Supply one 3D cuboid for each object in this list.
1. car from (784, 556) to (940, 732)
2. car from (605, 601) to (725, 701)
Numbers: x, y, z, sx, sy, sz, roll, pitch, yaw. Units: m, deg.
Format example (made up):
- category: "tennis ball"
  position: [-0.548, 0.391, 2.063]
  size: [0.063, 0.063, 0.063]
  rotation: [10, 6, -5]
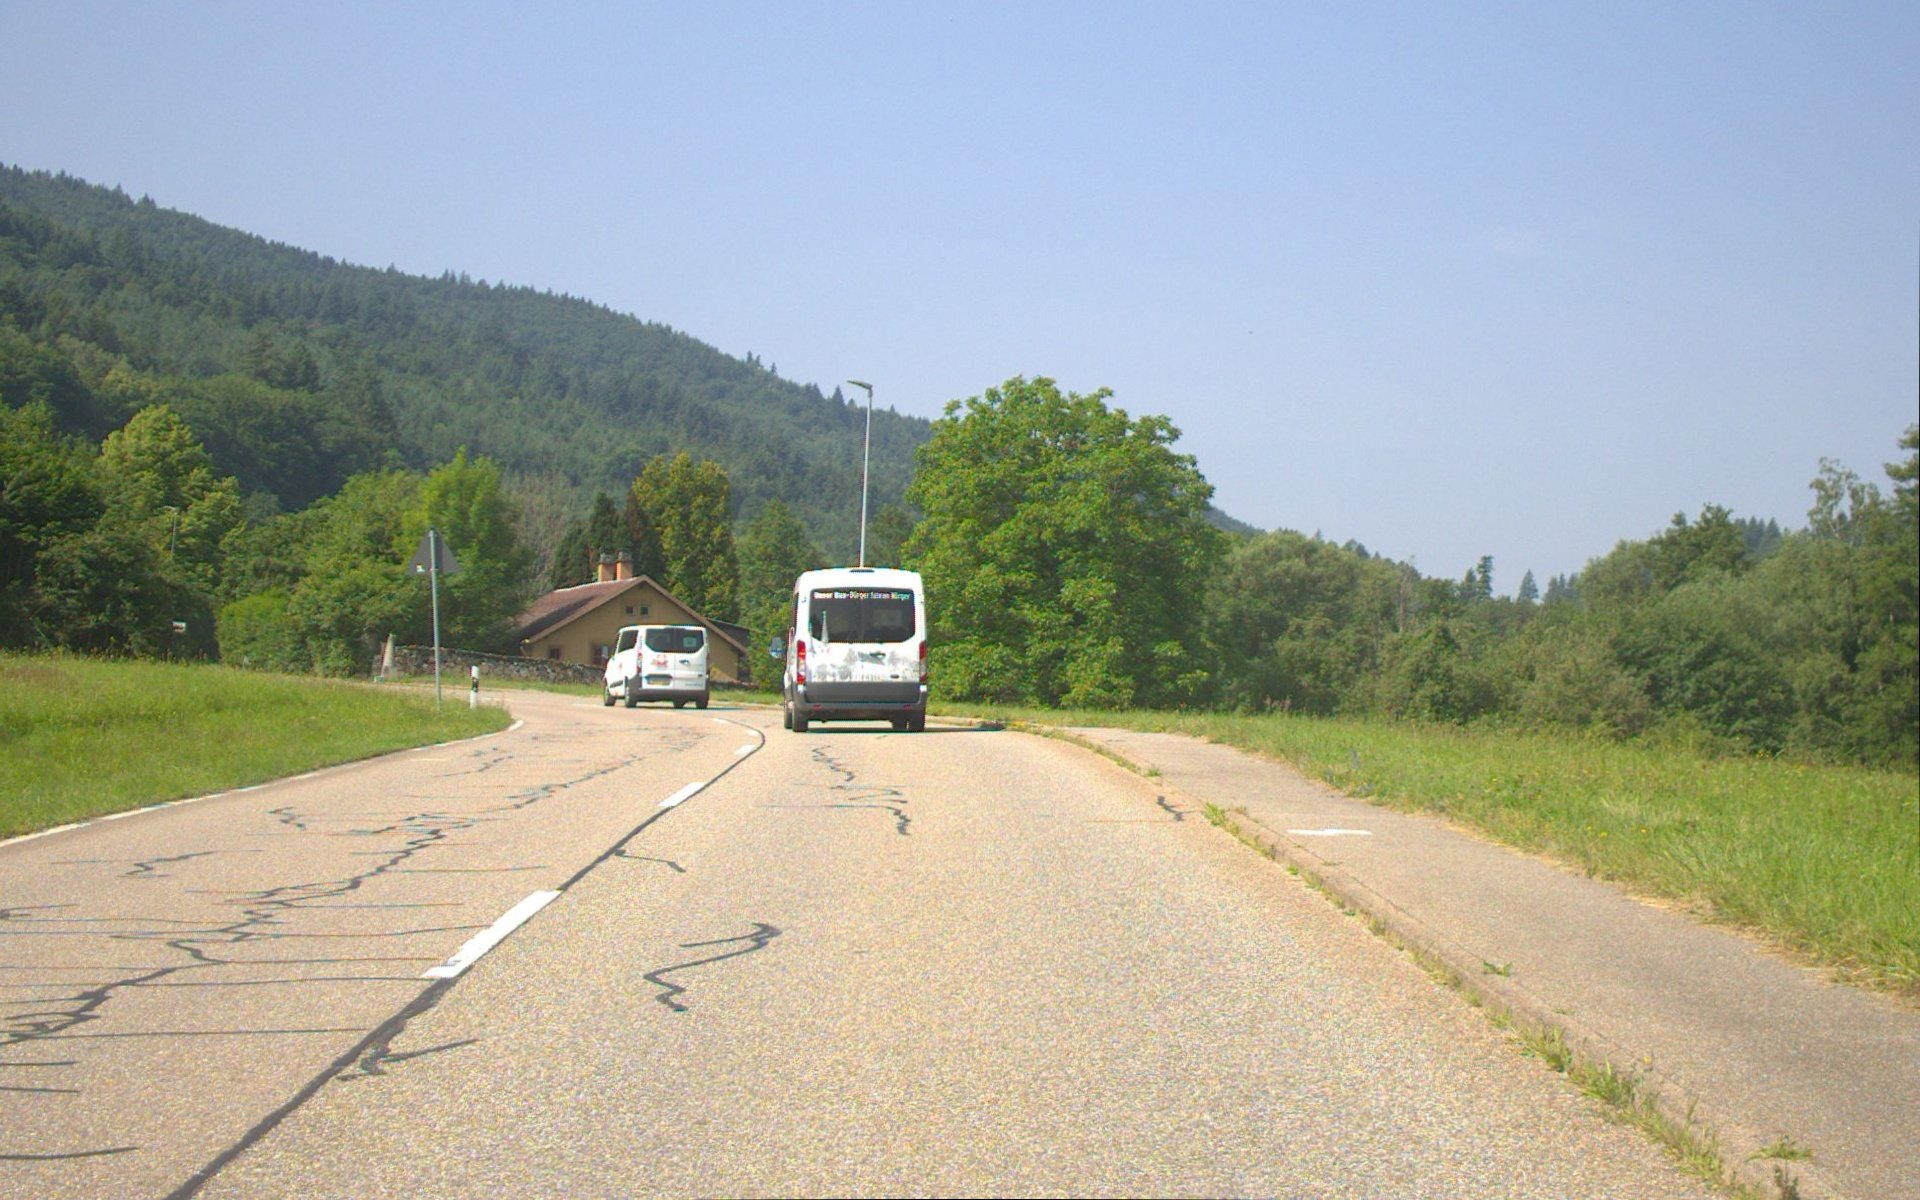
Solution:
- category: "car"
  position: [-1.494, 0.690, 53.275]
  size: [2.222, 2.517, 4.984]
  rotation: [-2, -1, -1]
- category: "car"
  position: [-7.208, 1.263, 83.556]
  size: [2.222, 2.279, 4.985]
  rotation: [-2, -1, -12]
